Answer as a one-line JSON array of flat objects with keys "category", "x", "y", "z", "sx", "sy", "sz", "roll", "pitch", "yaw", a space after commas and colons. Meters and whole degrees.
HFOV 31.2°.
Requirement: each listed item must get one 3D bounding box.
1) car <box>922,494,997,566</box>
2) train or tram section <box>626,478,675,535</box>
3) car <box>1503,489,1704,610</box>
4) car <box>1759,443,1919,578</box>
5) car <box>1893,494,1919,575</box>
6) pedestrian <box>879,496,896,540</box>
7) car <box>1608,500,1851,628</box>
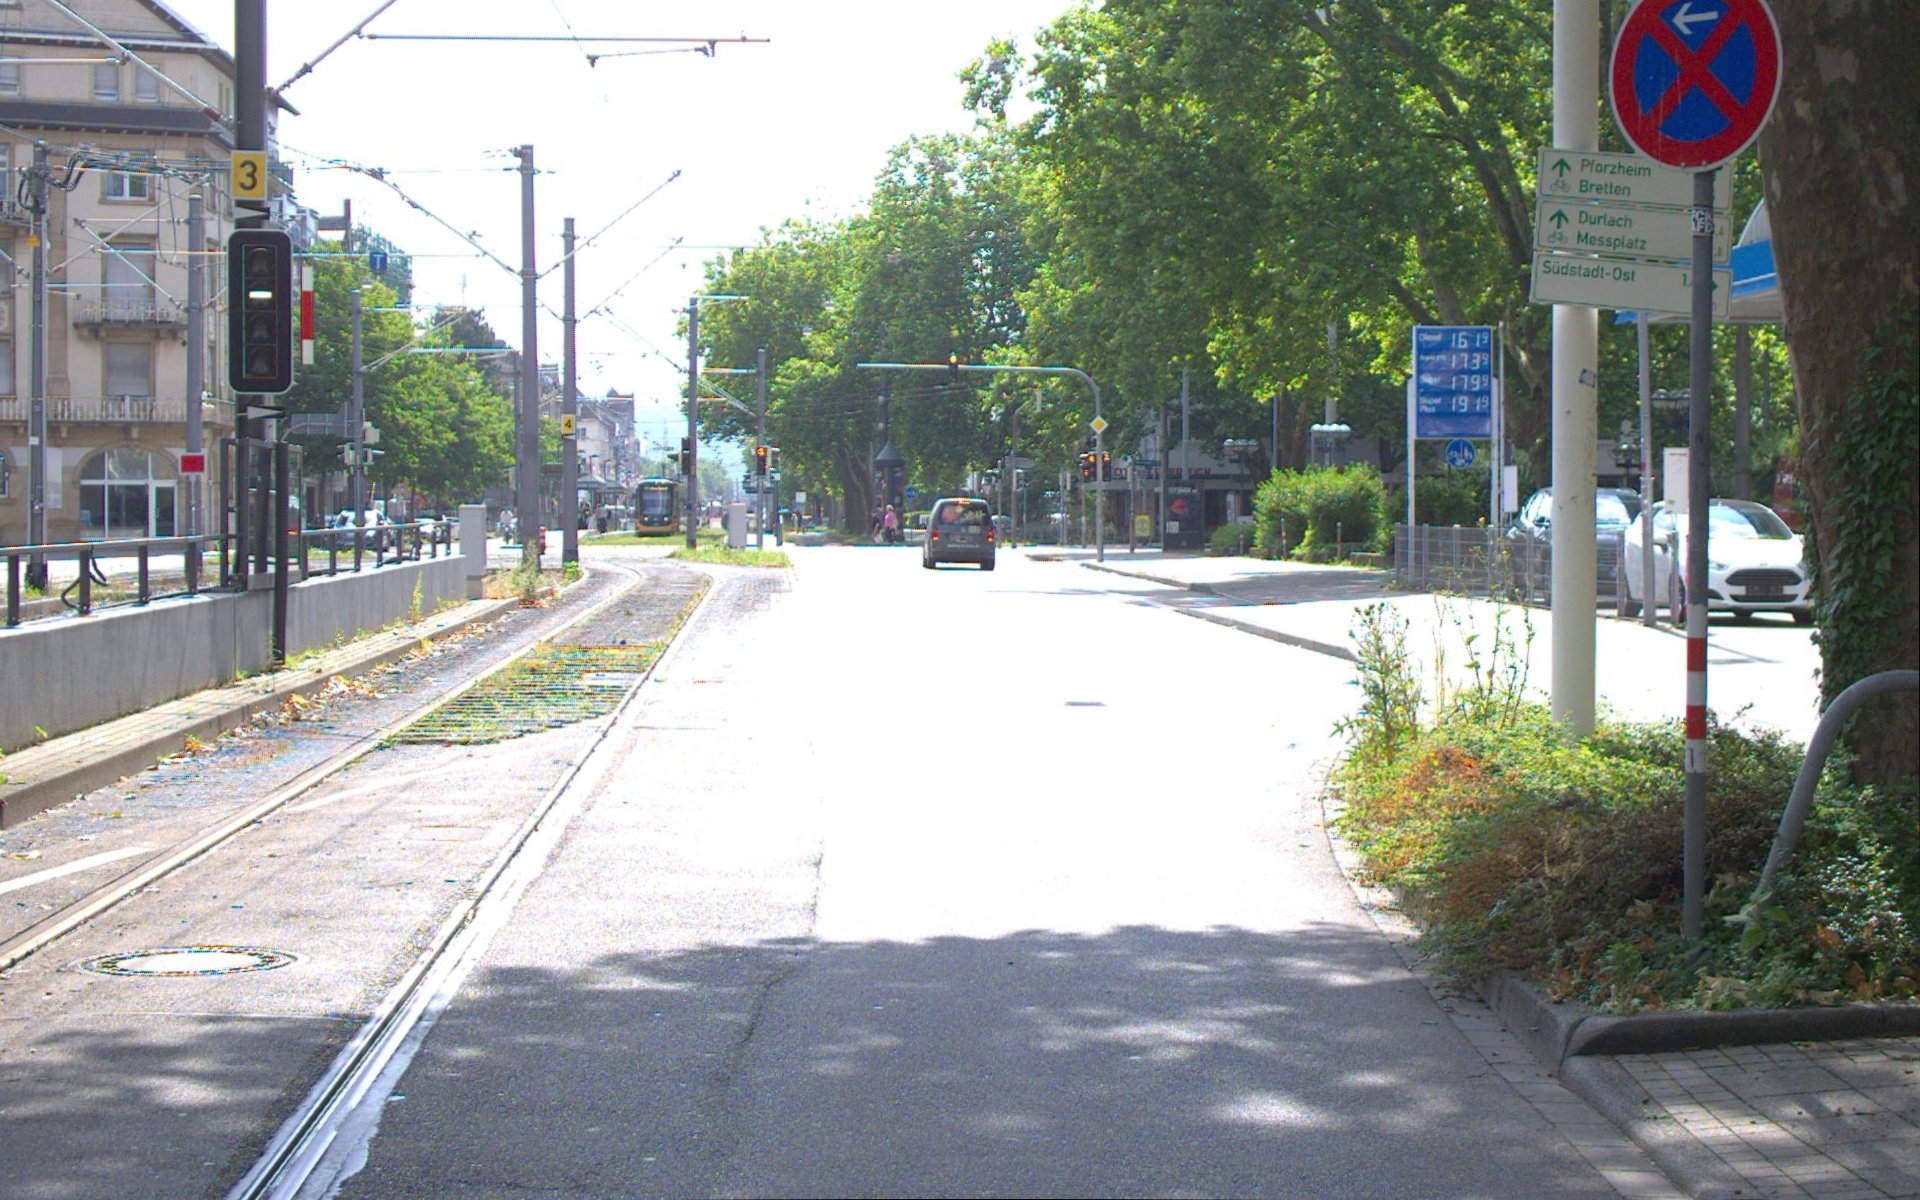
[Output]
[{"category": "car", "x": -0.033, "y": -1.839, "z": 89.512, "sx": 1.750, "sy": 1.802, "sz": 3.475, "roll": 1, "pitch": 1, "yaw": -2}, {"category": "train or tram section", "x": -18.364, "y": -5.561, "z": 204.536, "sx": 2.240, "sy": 3.320, "sz": 12.973, "roll": 0, "pitch": 2, "yaw": -2}, {"category": "car", "x": 8.954, "y": -0.739, "z": 48.176, "sx": 1.805, "sy": 1.597, "sz": 4.583, "roll": 0, "pitch": 2, "yaw": -2}, {"category": "car", "x": 17.764, "y": -1.793, "z": 68.660, "sx": 2.111, "sy": 2.573, "sz": 6.020, "roll": 0, "pitch": 2, "yaw": -1}, {"category": "car", "x": 20.551, "y": -1.296, "z": 69.514, "sx": 2.006, "sy": 1.645, "sz": 4.653, "roll": 1, "pitch": 2, "yaw": -1}, {"category": "pedestrian", "x": -2.928, "y": -3.319, "z": 139.203, "sx": 0.659, "sy": 1.778, "sz": 0.660, "roll": 0, "pitch": 1, "yaw": -2}, {"category": "car", "x": 9.160, "y": -0.465, "z": 41.249, "sx": 1.805, "sy": 1.450, "sz": 4.002, "roll": 0, "pitch": 2, "yaw": -3}]
